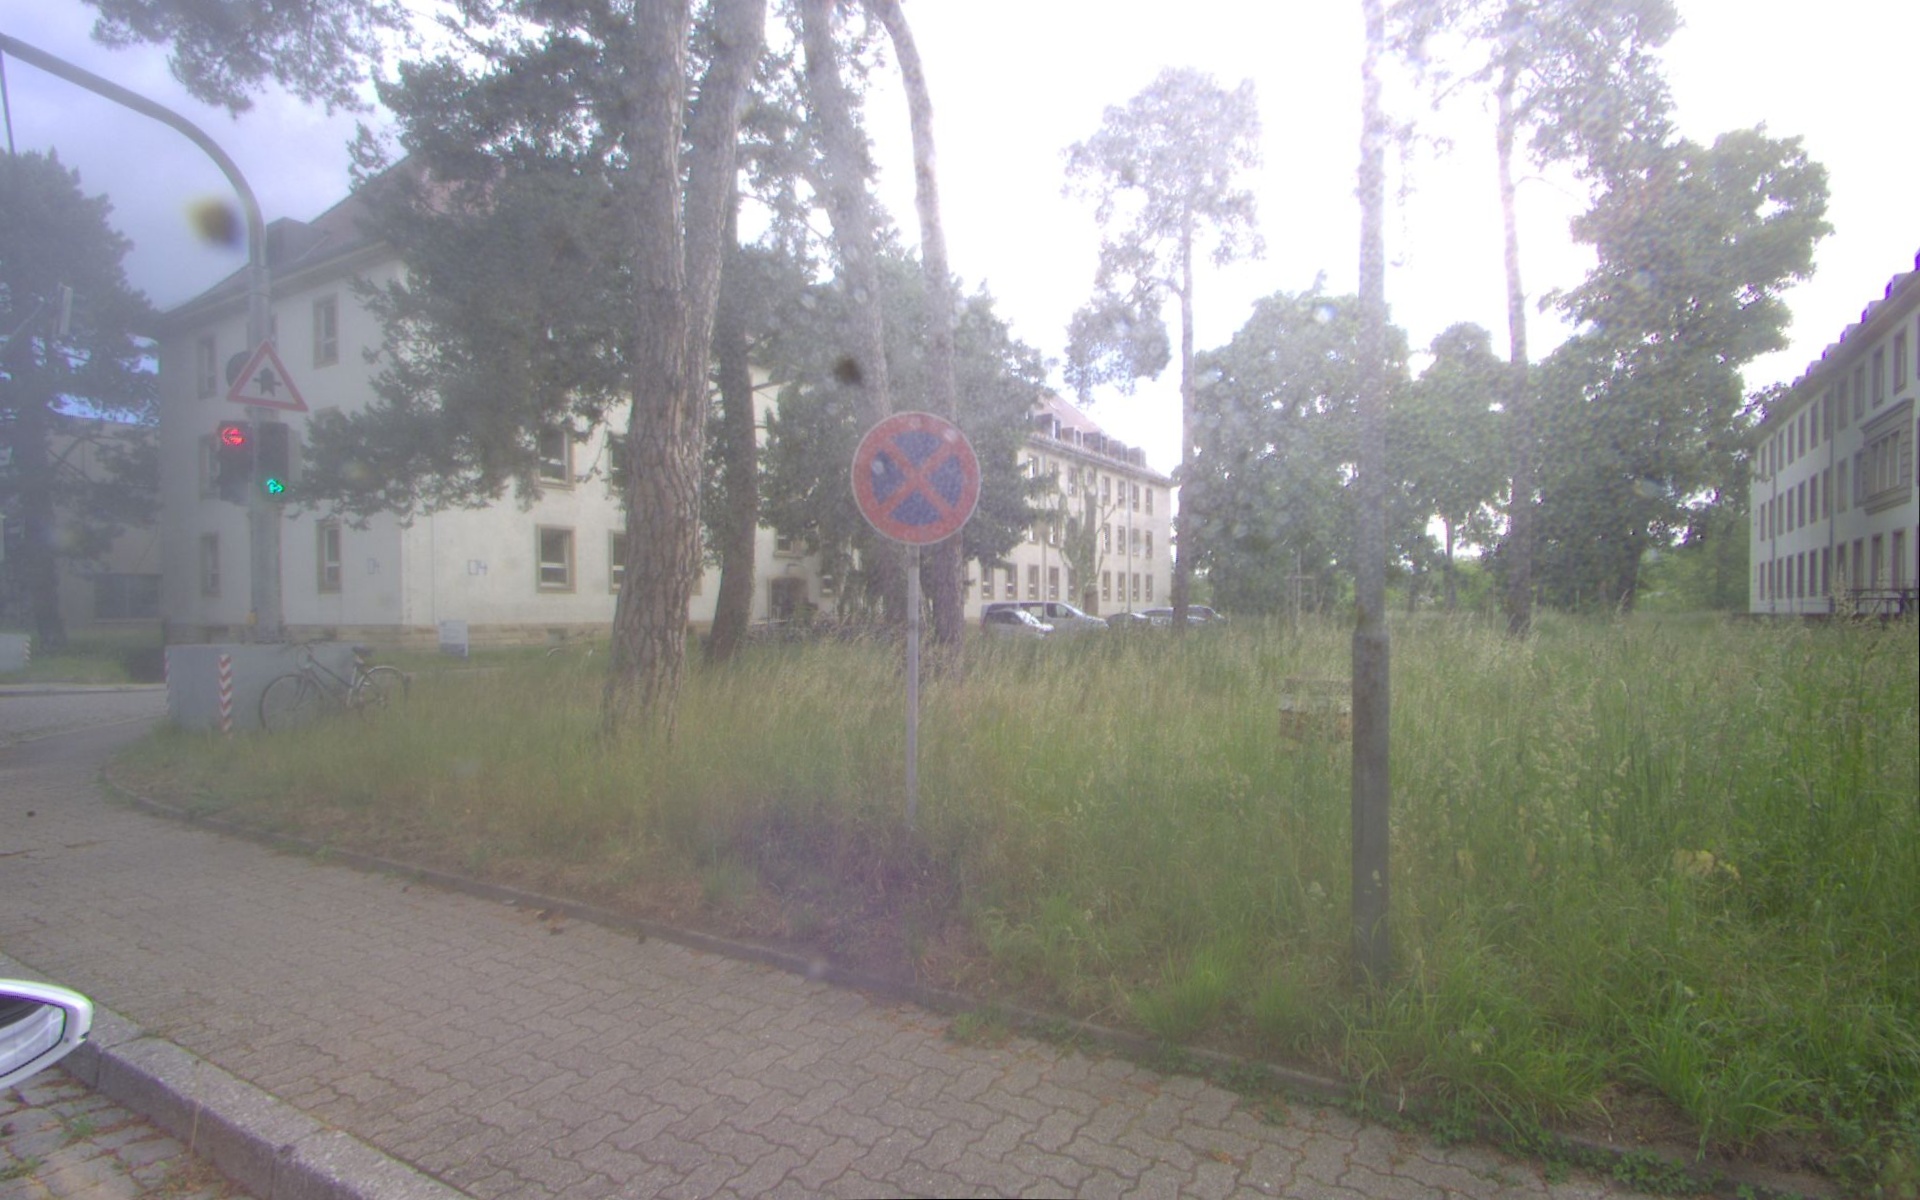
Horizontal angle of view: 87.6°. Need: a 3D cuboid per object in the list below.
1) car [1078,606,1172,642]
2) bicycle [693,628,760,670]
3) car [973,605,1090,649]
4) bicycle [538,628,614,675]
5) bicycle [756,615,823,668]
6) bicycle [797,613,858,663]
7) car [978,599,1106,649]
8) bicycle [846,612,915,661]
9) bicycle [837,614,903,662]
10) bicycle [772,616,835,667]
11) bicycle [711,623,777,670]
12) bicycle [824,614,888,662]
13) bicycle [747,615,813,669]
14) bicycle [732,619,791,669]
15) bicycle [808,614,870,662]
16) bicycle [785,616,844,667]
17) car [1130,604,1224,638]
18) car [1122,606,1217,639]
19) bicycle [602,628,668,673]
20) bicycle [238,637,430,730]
[{"bbox_3d":[7.741,1.103,46.986,3.943,1.639,1.989,0,-1,33],"label":"car"},{"bbox_3d":[-5.713,1.188,24.462,1.877,0.961,0.539,0,0,37],"label":"bicycle"},{"bbox_3d":[2.583,0.957,36.541,3.877,1.550,1.852,0,0,34],"label":"car"},{"bbox_3d":[-8.550,1.127,22.348,0.522,0.993,1.618,0,0,31],"label":"bicycle"},{"bbox_3d":[-4.522,1.078,26.433,1.950,1.337,0.574,0,0,37],"label":"bicycle"},{"bbox_3d":[-3.674,1.043,27.751,1.829,1.337,0.553,0,0,37],"label":"bicycle"},{"bbox_3d":[3.294,0.943,40.073,4.774,1.935,2.237,0,0,17],"label":"car"},{"bbox_3d":[-2.375,1.067,29.827,2.075,1.385,0.755,0,0,37],"label":"bicycle"},{"bbox_3d":[-2.645,1.091,29.159,2.104,1.337,0.553,0,0,37],"label":"bicycle"},{"bbox_3d":[-4.234,1.095,26.946,1.895,1.337,0.504,0,0,37],"label":"bicycle"},{"bbox_3d":[-5.415,1.136,25.045,1.877,1.116,0.539,0,0,37],"label":"bicycle"},{"bbox_3d":[-2.997,1.076,28.710,1.989,1.337,0.538,0,0,37],"label":"bicycle"},{"bbox_3d":[-4.657,1.059,25.847,2.021,1.337,0.436,0,0,37],"label":"bicycle"},{"bbox_3d":[-5.054,1.107,25.500,1.618,1.231,0.539,0,0,37],"label":"bicycle"},{"bbox_3d":[-3.442,1.058,28.324,1.913,1.337,0.551,0,0,37],"label":"bicycle"},{"bbox_3d":[-3.975,1.106,27.315,1.893,1.337,0.390,0,0,37],"label":"bicycle"},{"bbox_3d":[11.853,1.140,54.810,4.629,1.796,1.989,0,0,33],"label":"car"},{"bbox_3d":[10.795,1.167,51.709,4.452,1.639,1.989,0,-1,33],"label":"car"},{"bbox_3d":[-7.748,1.188,23.917,0.535,1.028,1.534,0,0,31],"label":"bicycle"},{"bbox_3d":[-6.760,0.865,10.901,0.564,0.886,1.697,0,0,32],"label":"bicycle"}]
